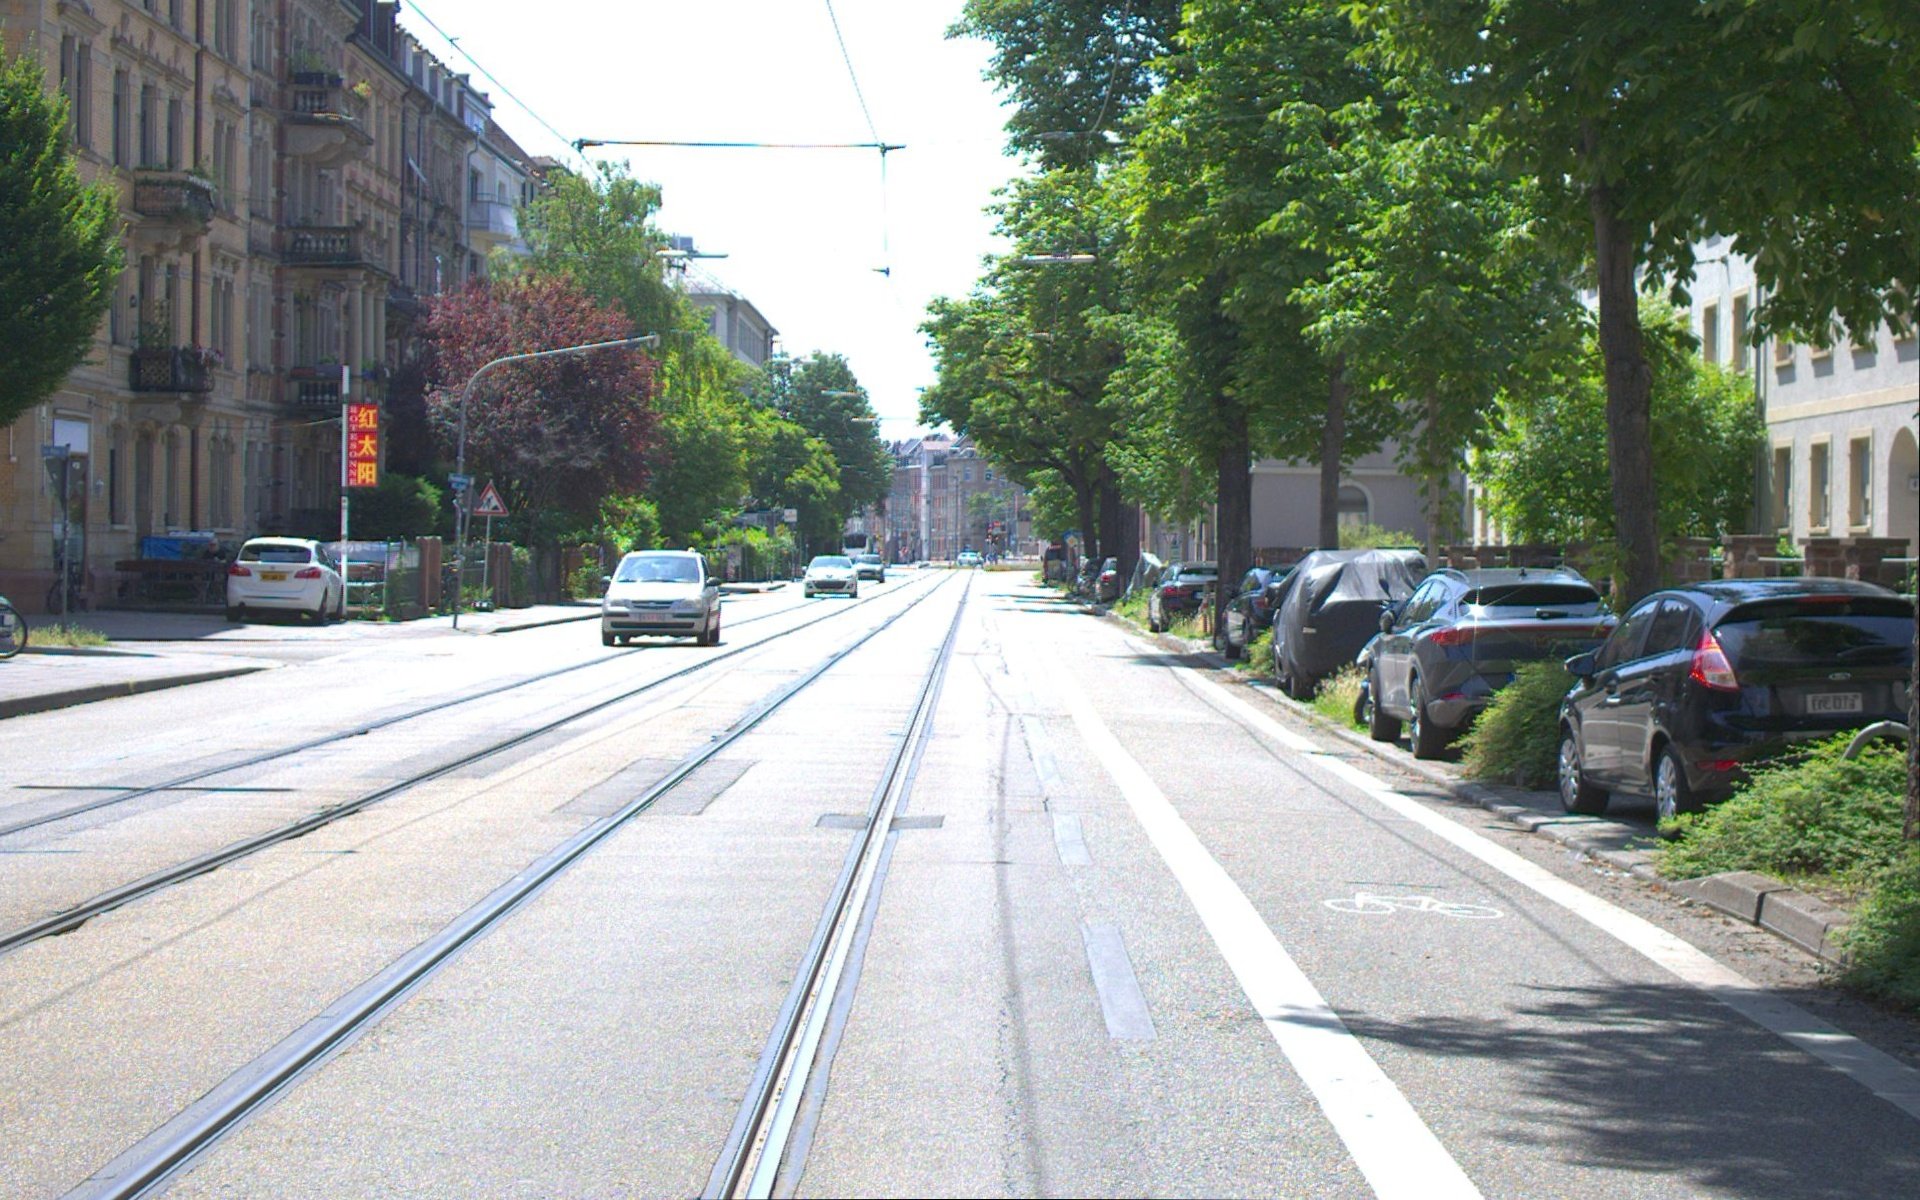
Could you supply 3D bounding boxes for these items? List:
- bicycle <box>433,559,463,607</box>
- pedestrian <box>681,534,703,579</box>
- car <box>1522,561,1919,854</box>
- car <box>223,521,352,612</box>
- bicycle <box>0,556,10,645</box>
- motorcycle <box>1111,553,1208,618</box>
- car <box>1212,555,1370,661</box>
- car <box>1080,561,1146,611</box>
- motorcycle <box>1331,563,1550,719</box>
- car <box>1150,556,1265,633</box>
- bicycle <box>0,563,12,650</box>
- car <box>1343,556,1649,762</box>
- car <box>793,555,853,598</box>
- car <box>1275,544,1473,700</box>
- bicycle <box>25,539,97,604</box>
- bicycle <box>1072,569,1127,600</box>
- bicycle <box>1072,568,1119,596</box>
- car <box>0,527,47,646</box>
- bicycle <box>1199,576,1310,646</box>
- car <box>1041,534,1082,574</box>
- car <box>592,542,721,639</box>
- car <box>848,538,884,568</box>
[{"bbox_3d":[-10.998,-0.368,73.840,0.454,1.000,1.807,1,1,-3],"label":"bicycle"},{"bbox_3d":[-9.891,-1.614,127.005,0.750,1.623,0.833,2,0,-5],"label":"pedestrian"},{"bbox_3d":[4.565,0.555,20.286,1.656,1.510,4.001,1,1,-2],"label":"car"},{"bbox_3d":[-12.637,-0.640,64.797,1.865,1.594,4.102,2,1,-5],"label":"car"},{"bbox_3d":[-12.029,-0.012,40.130,1.705,1.033,0.551,1,1,5],"label":"bicycle"},{"bbox_3d":[4.895,-0.352,84.548,2.319,1.535,0.867,2,1,43],"label":"motorcycle"},{"bbox_3d":[4.743,0.081,49.783,1.694,1.414,4.358,1,1,-2],"label":"car"},{"bbox_3d":[4.697,-0.443,106.093,1.774,1.496,4.306,0,1,-1],"label":"car"},{"bbox_3d":[4.569,0.389,32.732,1.912,1.428,0.672,1,1,-8],"label":"motorcycle"},{"bbox_3d":[4.943,-0.136,69.187,1.769,1.422,4.863,1,1,-2],"label":"car"},{"bbox_3d":[-11.125,0.079,38.736,0.438,0.980,1.711,1,1,-1],"label":"bicycle"},{"bbox_3d":[4.406,0.430,28.887,1.732,1.546,4.454,1,1,-2],"label":"car"},{"bbox_3d":[-4.570,-0.794,115.090,1.756,1.419,4.000,0,1,1],"label":"car"},{"bbox_3d":[4.709,0.198,39.703,1.947,1.645,4.879,1,1,3],"label":"car"},{"bbox_3d":[-16.743,-0.542,64.073,0.638,1.183,2.144,1,1,3],"label":"bicycle"},{"bbox_3d":[4.873,-0.548,120.064,1.890,1.048,0.538,1,0,7],"label":"bicycle"},{"bbox_3d":[5.313,-0.696,134.385,1.816,1.109,0.493,0,-1,0],"label":"bicycle"},{"bbox_3d":[-13.328,-0.209,42.155,3.760,1.423,1.713,2,0,1],"label":"car"},{"bbox_3d":[4.650,0.170,54.360,1.652,1.074,0.606,1,1,-7],"label":"bicycle"},{"bbox_3d":[5.270,-2.403,179.151,1.993,2.028,4.697,1,1,0],"label":"car"},{"bbox_3d":[-4.735,-0.180,54.047,1.684,1.444,4.000,1,1,0],"label":"car"},{"bbox_3d":[-4.754,-2.390,174.590,1.686,1.449,3.748,1,1,0],"label":"car"}]
